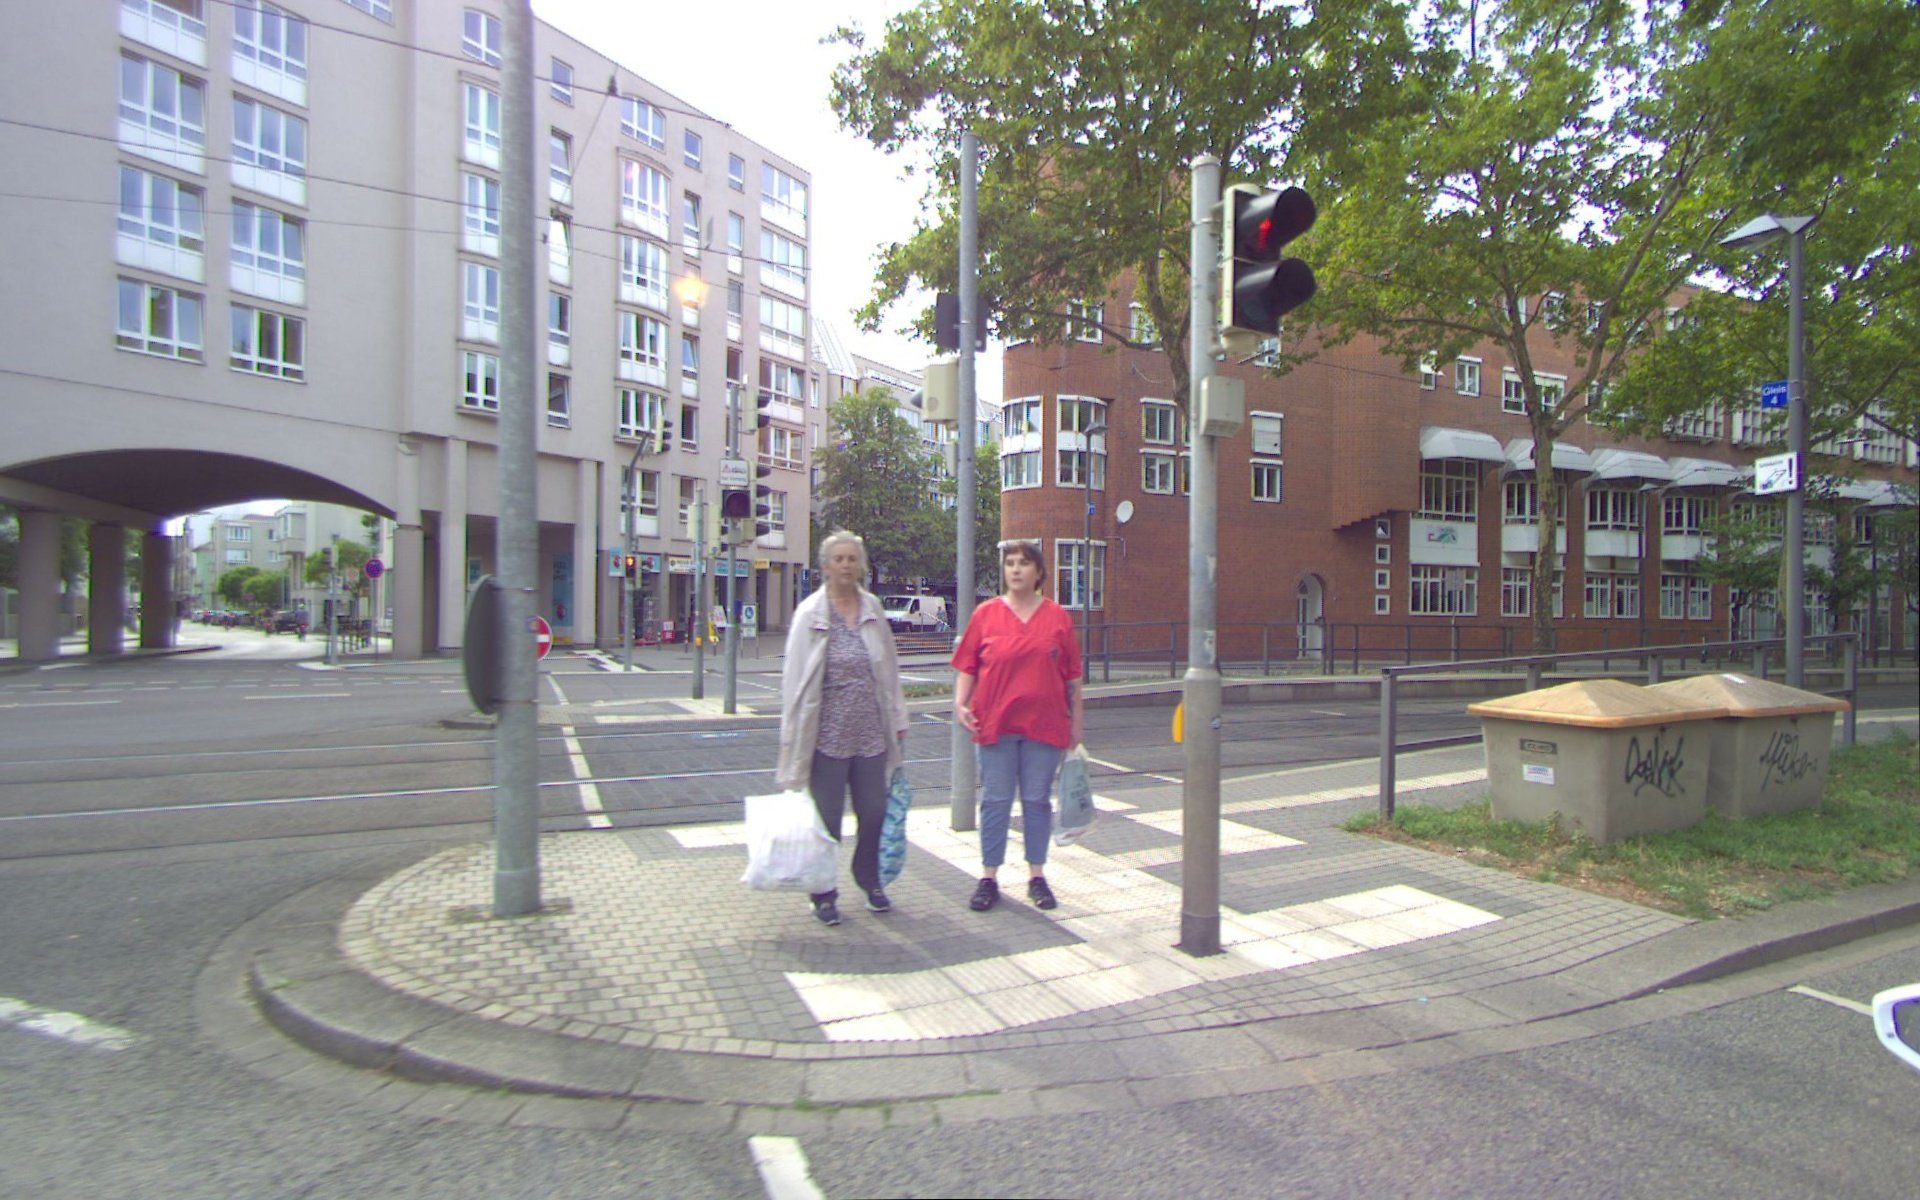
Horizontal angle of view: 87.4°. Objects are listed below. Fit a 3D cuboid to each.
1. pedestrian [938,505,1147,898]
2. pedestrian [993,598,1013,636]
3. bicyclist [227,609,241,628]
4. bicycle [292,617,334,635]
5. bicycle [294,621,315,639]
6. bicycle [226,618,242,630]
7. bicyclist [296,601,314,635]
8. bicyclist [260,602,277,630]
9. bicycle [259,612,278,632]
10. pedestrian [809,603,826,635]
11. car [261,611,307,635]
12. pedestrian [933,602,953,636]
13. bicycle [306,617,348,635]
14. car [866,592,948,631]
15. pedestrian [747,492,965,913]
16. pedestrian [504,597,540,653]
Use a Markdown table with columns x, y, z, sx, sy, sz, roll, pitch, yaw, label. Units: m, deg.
| x | y | z | sx | sy | sz | roll | pitch | yaw | label |
| --- | --- | --- | --- | --- | --- | --- | --- | --- | --- |
| 0.371 | 0.458 | 4.780 | 0.874 | 1.741 | 0.554 | 1 | 0 | -8 | pedestrian |
| 2.252 | 0.882 | 52.872 | 0.778 | 1.990 | 0.804 | 0 | 0 | 31 | pedestrian |
| -55.307 | 1.409 | 76.521 | 0.808 | 1.471 | 0.702 | 0 | -1 | 45 | bicyclist |
| -40.155 | 1.616 | 62.355 | 0.657 | 1.062 | 2.093 | 0 | -1 | 44 | bicycle |
| -31.598 | 1.430 | 48.445 | 0.571 | 0.847 | 1.975 | 1 | -1 | -26 | bicycle |
| -55.314 | 1.794 | 76.522 | 0.703 | 0.877 | 1.835 | 2 | -1 | -45 | bicycle |
| -31.556 | 0.864 | 48.383 | 0.575 | 1.583 | 1.027 | 1 | -1 | -26 | bicyclist |
| -39.313 | 0.897 | 57.103 | 0.699 | 1.545 | 0.936 | 1 | -1 | -40 | bicyclist |
| -39.311 | 1.244 | 57.093 | 0.707 | 1.062 | 2.082 | 1 | -1 | -40 | bicycle |
| -7.732 | 1.035 | 54.543 | 0.698 | 1.693 | 0.605 | 1 | 0 | 20 | pedestrian |
| -45.460 | 1.525 | 67.483 | 3.943 | 1.584 | 1.699 | 0 | -1 | 43 | car |
| -0.876 | 0.954 | 51.020 | 0.682 | 1.693 | 0.830 | 0 | -1 | 29 | pedestrian |
| -38.801 | 1.609 | 61.602 | 2.092 | 1.062 | 0.628 | 1 | -1 | -44 | bicycle |
| -2.740 | 0.602 | 53.251 | 1.964 | 1.962 | 4.936 | 0 | -1 | 30 | car |
| -0.485 | 0.433 | 4.550 | 0.876 | 1.741 | 0.552 | 1 | 0 | -17 | pedestrian |
| -13.548 | 0.775 | 31.078 | 0.663 | 1.702 | 0.752 | 0 | 0 | 28 | pedestrian |
